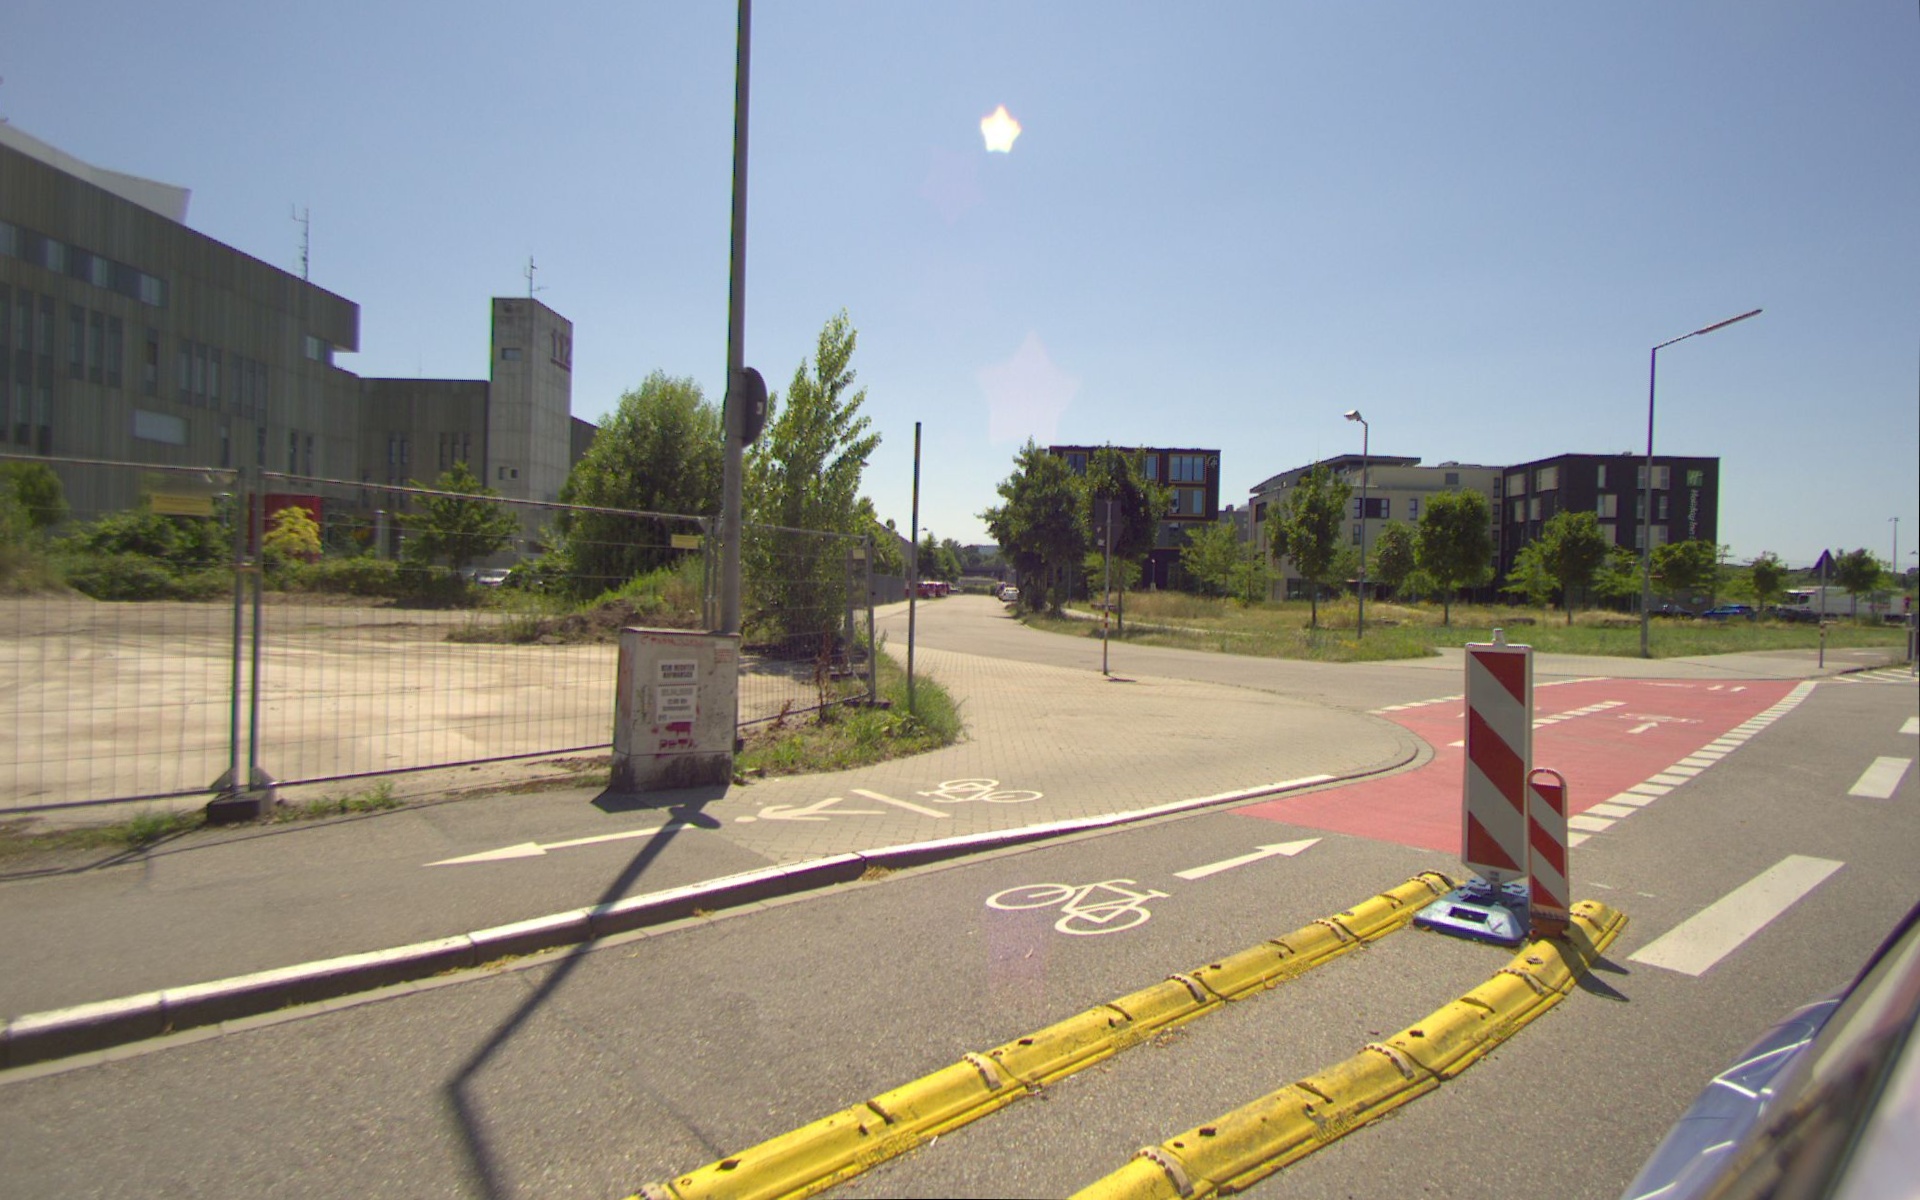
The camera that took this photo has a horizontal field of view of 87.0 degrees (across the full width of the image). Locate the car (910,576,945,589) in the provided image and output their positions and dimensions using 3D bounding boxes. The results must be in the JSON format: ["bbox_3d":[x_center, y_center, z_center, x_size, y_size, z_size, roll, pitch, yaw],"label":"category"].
[{"bbox_3d":[-4.121,-2.226,128.936,4.438,1.529,1.804,2,1,-1],"label":"car"}]

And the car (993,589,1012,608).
[{"bbox_3d":[4.483,-0.150,105.810,1.924,1.953,3.490,1,0,3],"label":"car"}]

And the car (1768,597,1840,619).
[{"bbox_3d":[68.436,0.624,82.136,1.993,1.581,4.509,1,1,0],"label":"car"}]

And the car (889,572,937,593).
[{"bbox_3d":[-5.160,-1.885,110.923,5.066,2.142,2.235,2,1,3],"label":"car"}]

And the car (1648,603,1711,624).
[{"bbox_3d":[58.985,1.056,83.013,1.923,1.462,4.131,2,1,-4],"label":"car"}]

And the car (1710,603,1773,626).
[{"bbox_3d":[63.876,1.181,82.816,1.918,1.672,4.071,2,1,1],"label":"car"}]

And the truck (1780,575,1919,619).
[{"bbox_3d":[82.680,-0.284,92.808,11.919,3.503,3.017,2,3,4],"label":"truck"}]
